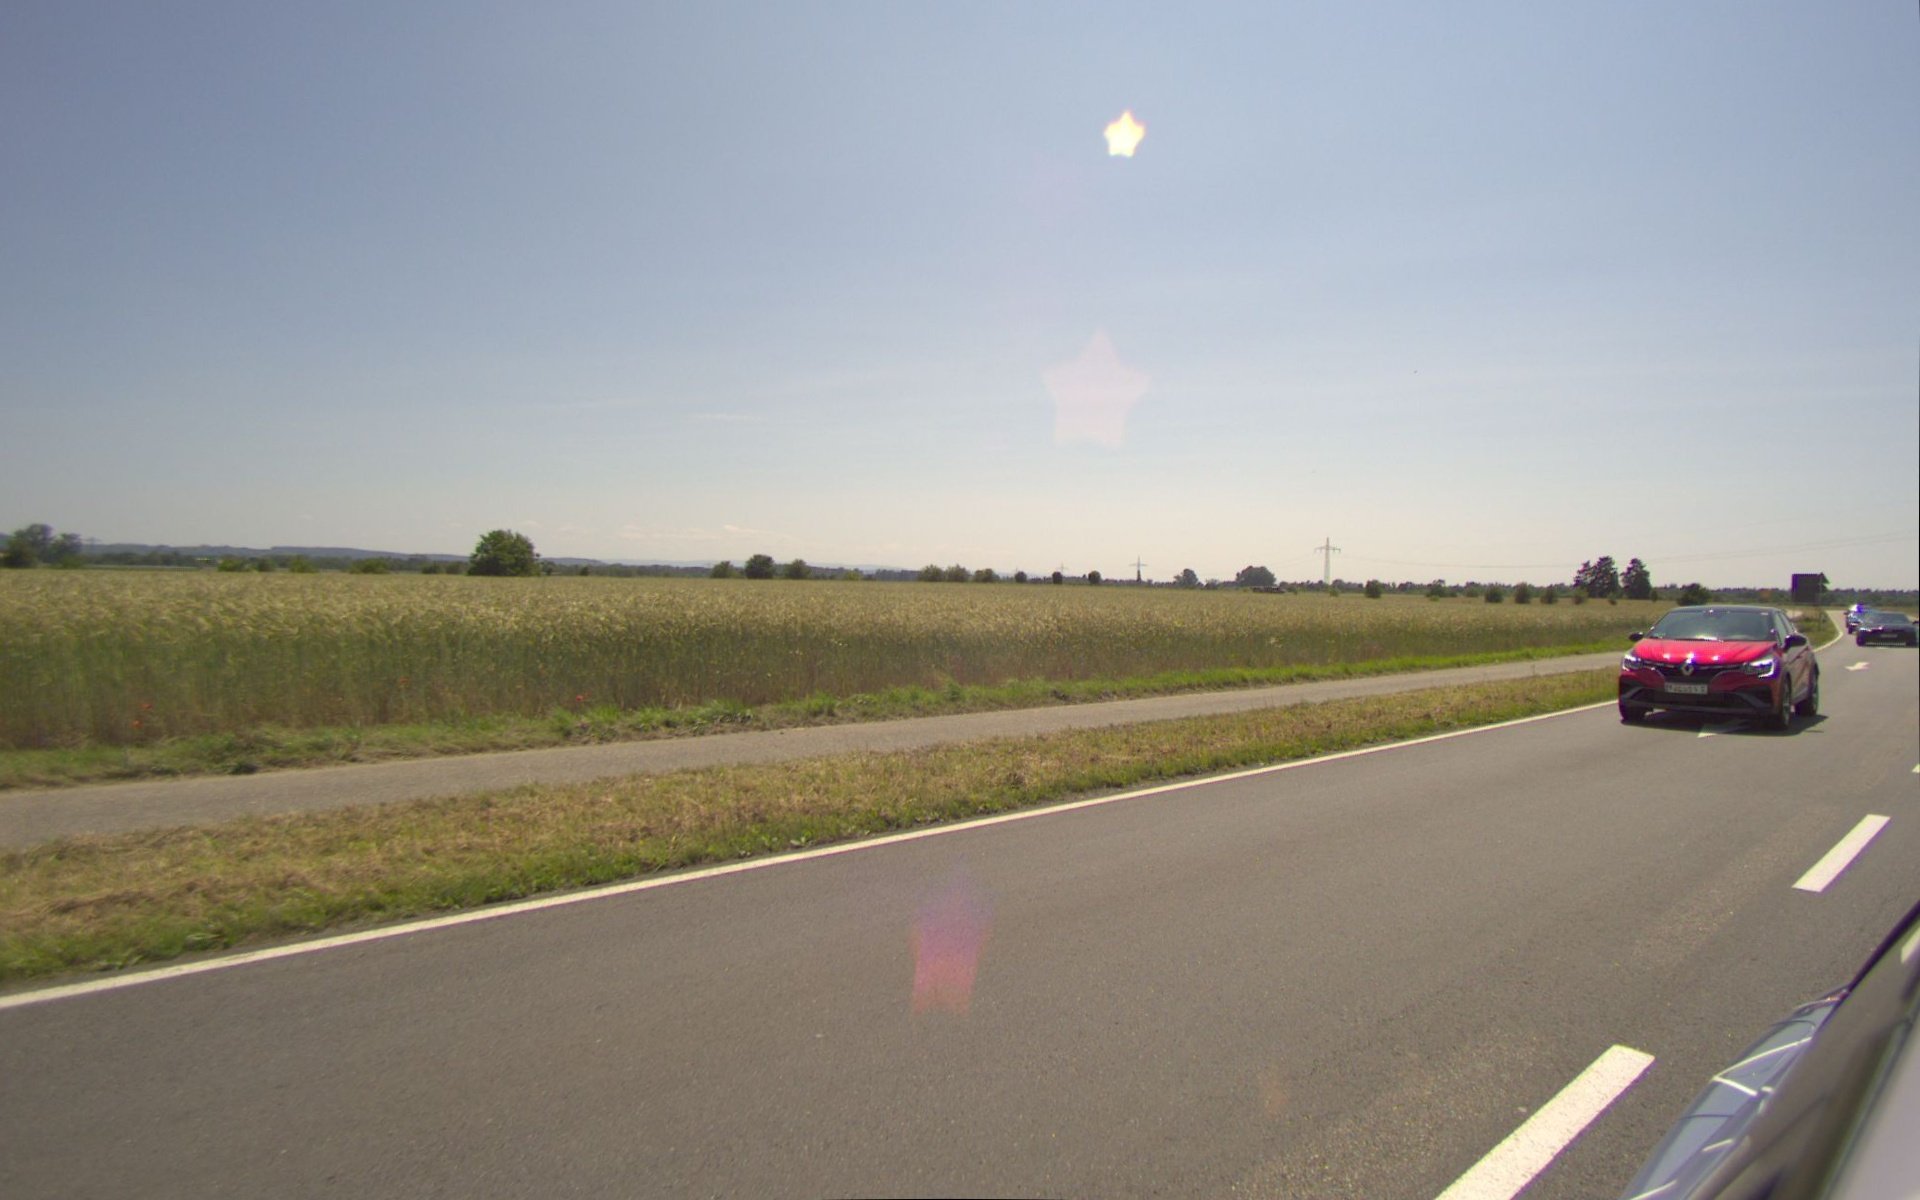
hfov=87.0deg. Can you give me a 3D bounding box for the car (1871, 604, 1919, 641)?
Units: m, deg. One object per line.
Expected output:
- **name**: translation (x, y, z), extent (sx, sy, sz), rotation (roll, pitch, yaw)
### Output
- **car**: translation (39.958, 0.925, 42.678), extent (2.184, 1.485, 4.934), rotation (0, 0, 44)

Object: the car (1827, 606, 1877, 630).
- **car**: translation (58.000, 1.164, 65.886), extent (2.180, 1.485, 4.944), rotation (0, 0, 38)

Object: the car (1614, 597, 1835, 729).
- **car**: translation (10.863, 0.748, 14.259), extent (4.375, 1.572, 1.823), rotation (0, 0, -44)
